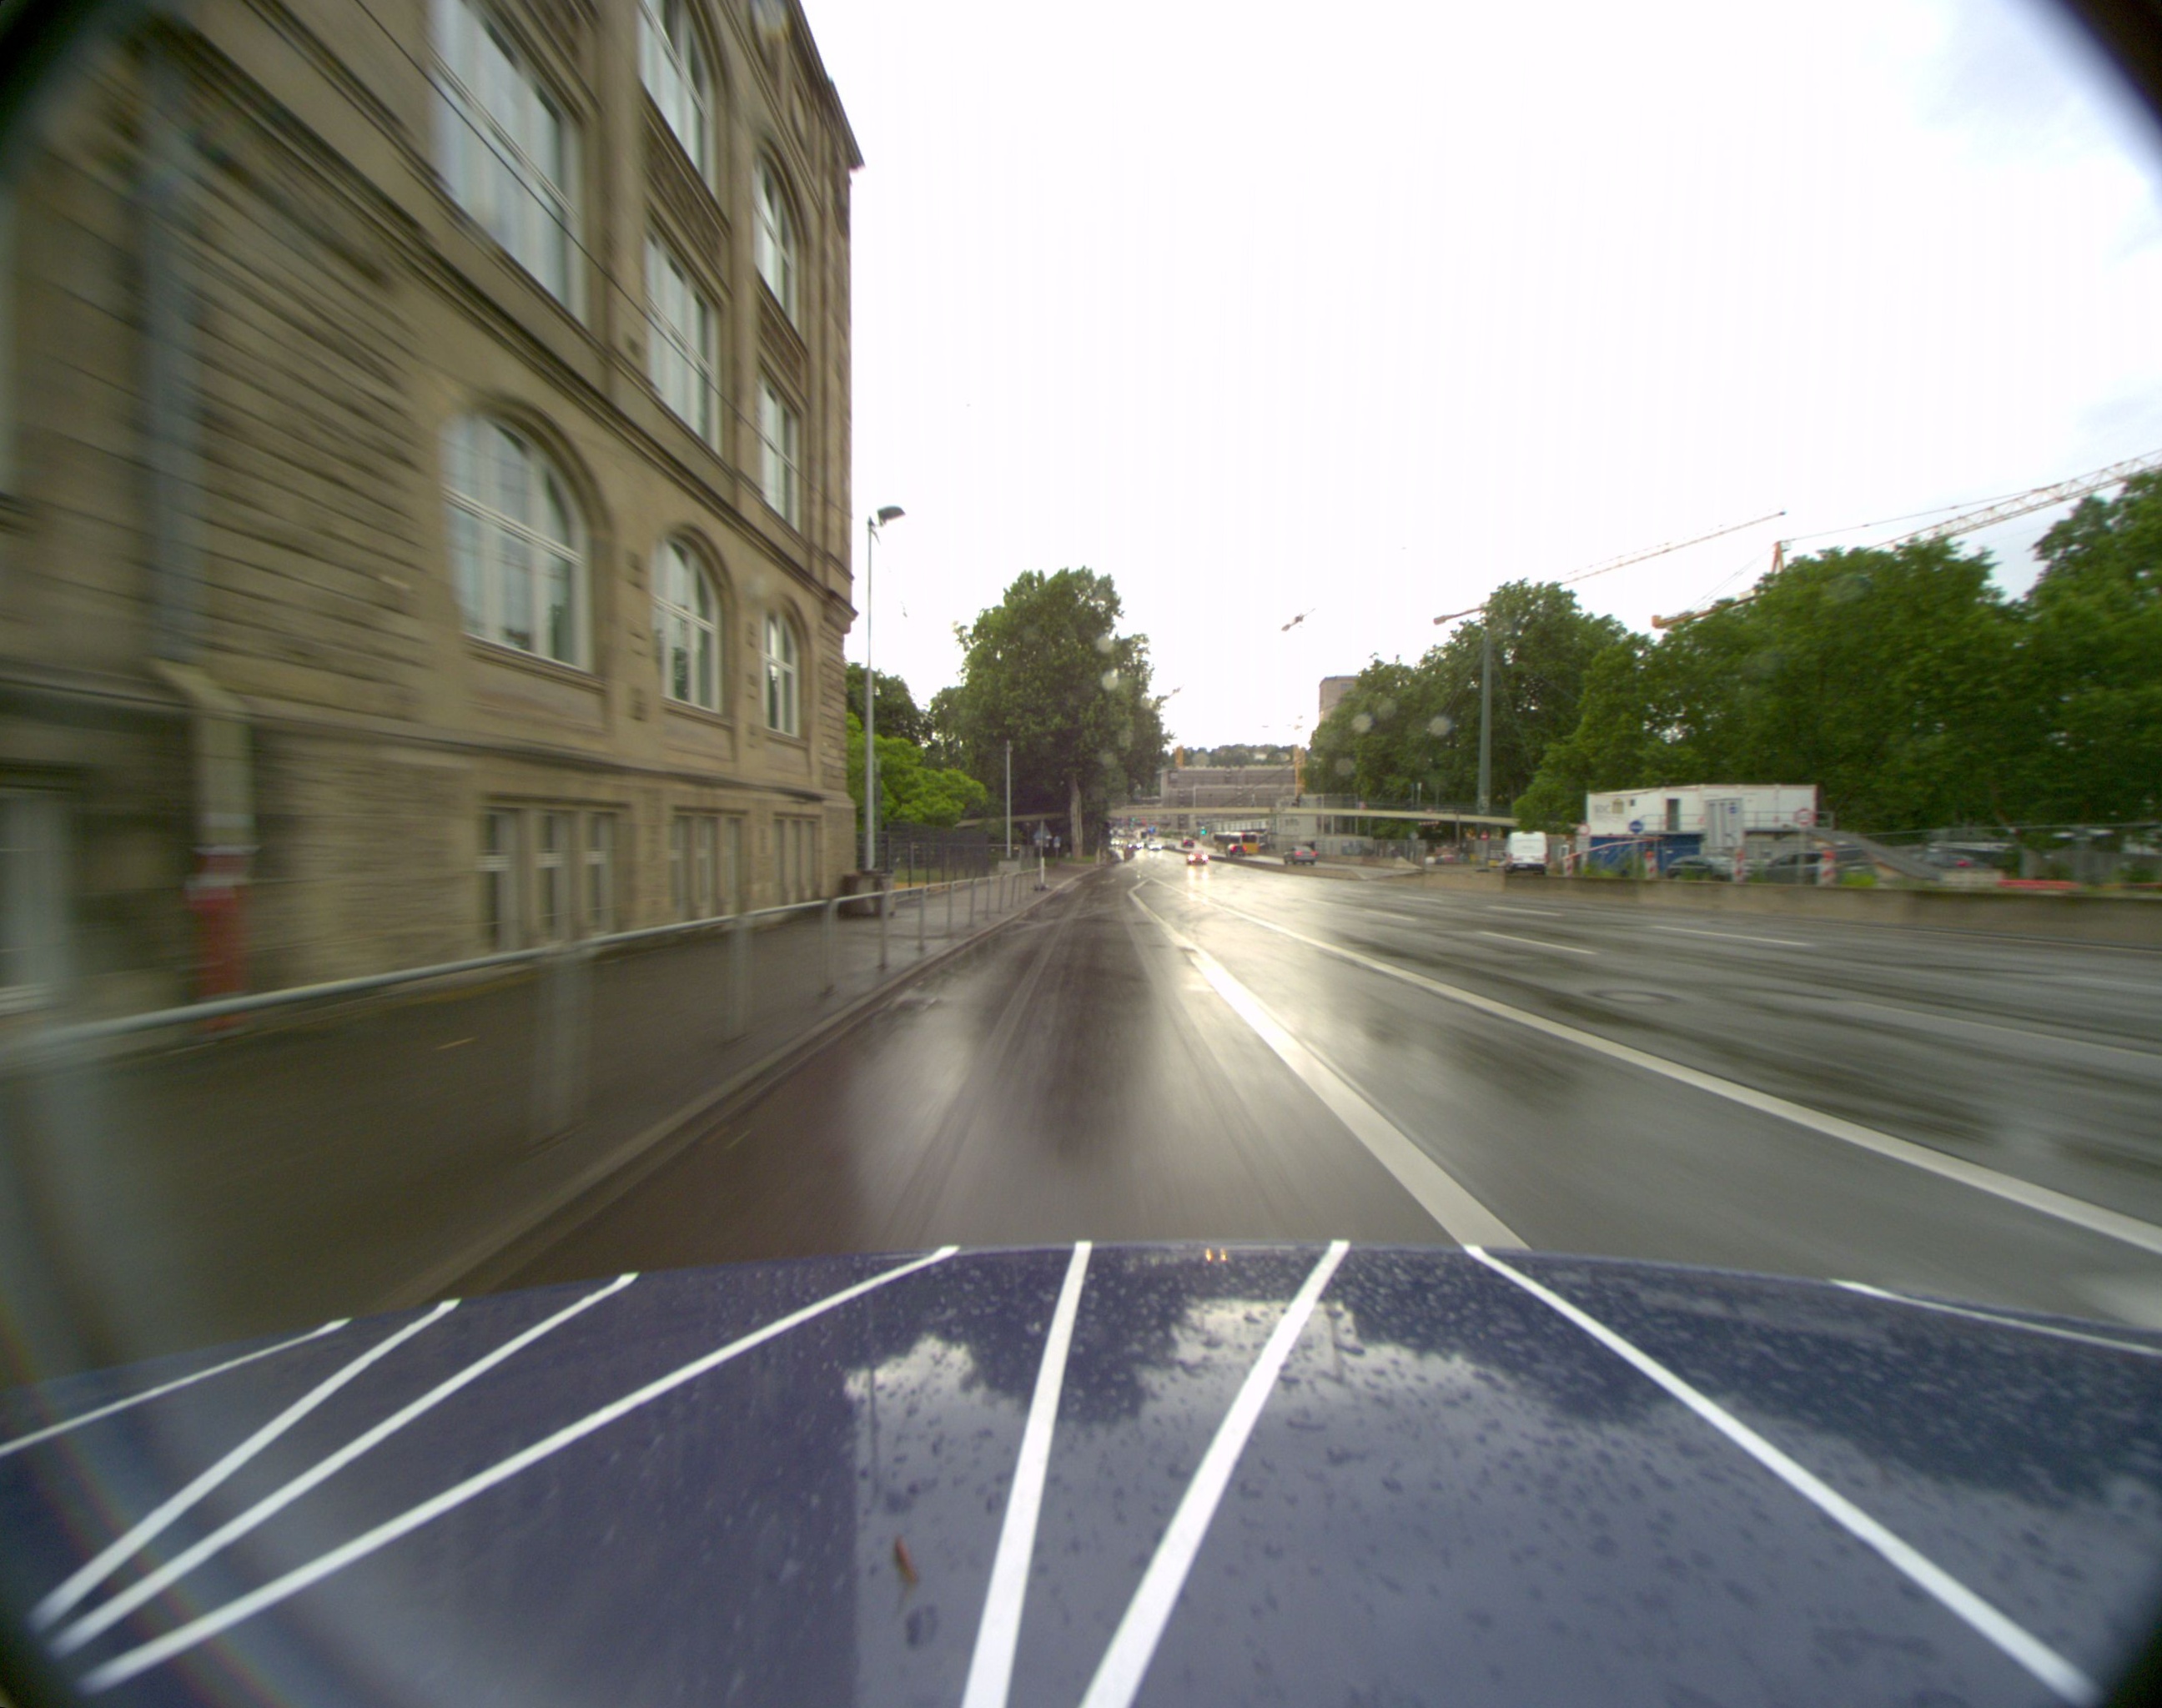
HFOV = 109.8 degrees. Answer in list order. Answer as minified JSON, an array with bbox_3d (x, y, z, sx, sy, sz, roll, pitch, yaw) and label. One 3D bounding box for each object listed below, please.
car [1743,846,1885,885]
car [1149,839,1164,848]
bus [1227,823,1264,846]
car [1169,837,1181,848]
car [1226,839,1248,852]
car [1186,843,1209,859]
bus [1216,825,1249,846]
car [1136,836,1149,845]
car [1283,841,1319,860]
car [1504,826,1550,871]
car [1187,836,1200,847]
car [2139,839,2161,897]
[{"bbox_3d":[29.709,0.421,31.003,1.839,1.481,4.442,0,0,7],"label":"car"},{"bbox_3d":[12.674,-1.732,127.801,1.987,1.567,4.439,0,0,0],"label":"car"},{"bbox_3d":[23.090,-2.646,107.298,3.270,2.923,8.953,-2,0,1],"label":"bus"},{"bbox_3d":[17.056,-2.133,138.516,1.998,2.002,4.001,0,0,4],"label":"car"},{"bbox_3d":[19.664,-1.086,95.668,1.840,1.567,4.439,0,0,0],"label":"car"},{"bbox_3d":[11.307,-0.299,73.902,1.690,1.543,4.000,-1,0,0],"label":"car"},{"bbox_3d":[23.114,-2.756,116.232,3.238,3.038,8.953,-2,0,1],"label":"bus"},{"bbox_3d":[11.410,-2.466,141.497,1.987,1.567,4.439,0,0,0],"label":"car"},{"bbox_3d":[19.311,-0.296,66.837,1.840,1.567,4.439,0,0,0],"label":"car"},{"bbox_3d":[28.384,-0.359,48.440,2.075,2.722,4.601,0,1,25],"label":"car"},{"bbox_3d":[20.437,-2.232,138.012,1.998,2.002,4.001,0,0,4],"label":"car"},{"bbox_3d":[28.454,0.368,17.626,1.839,1.481,4.441,0,0,5],"label":"car"}]
